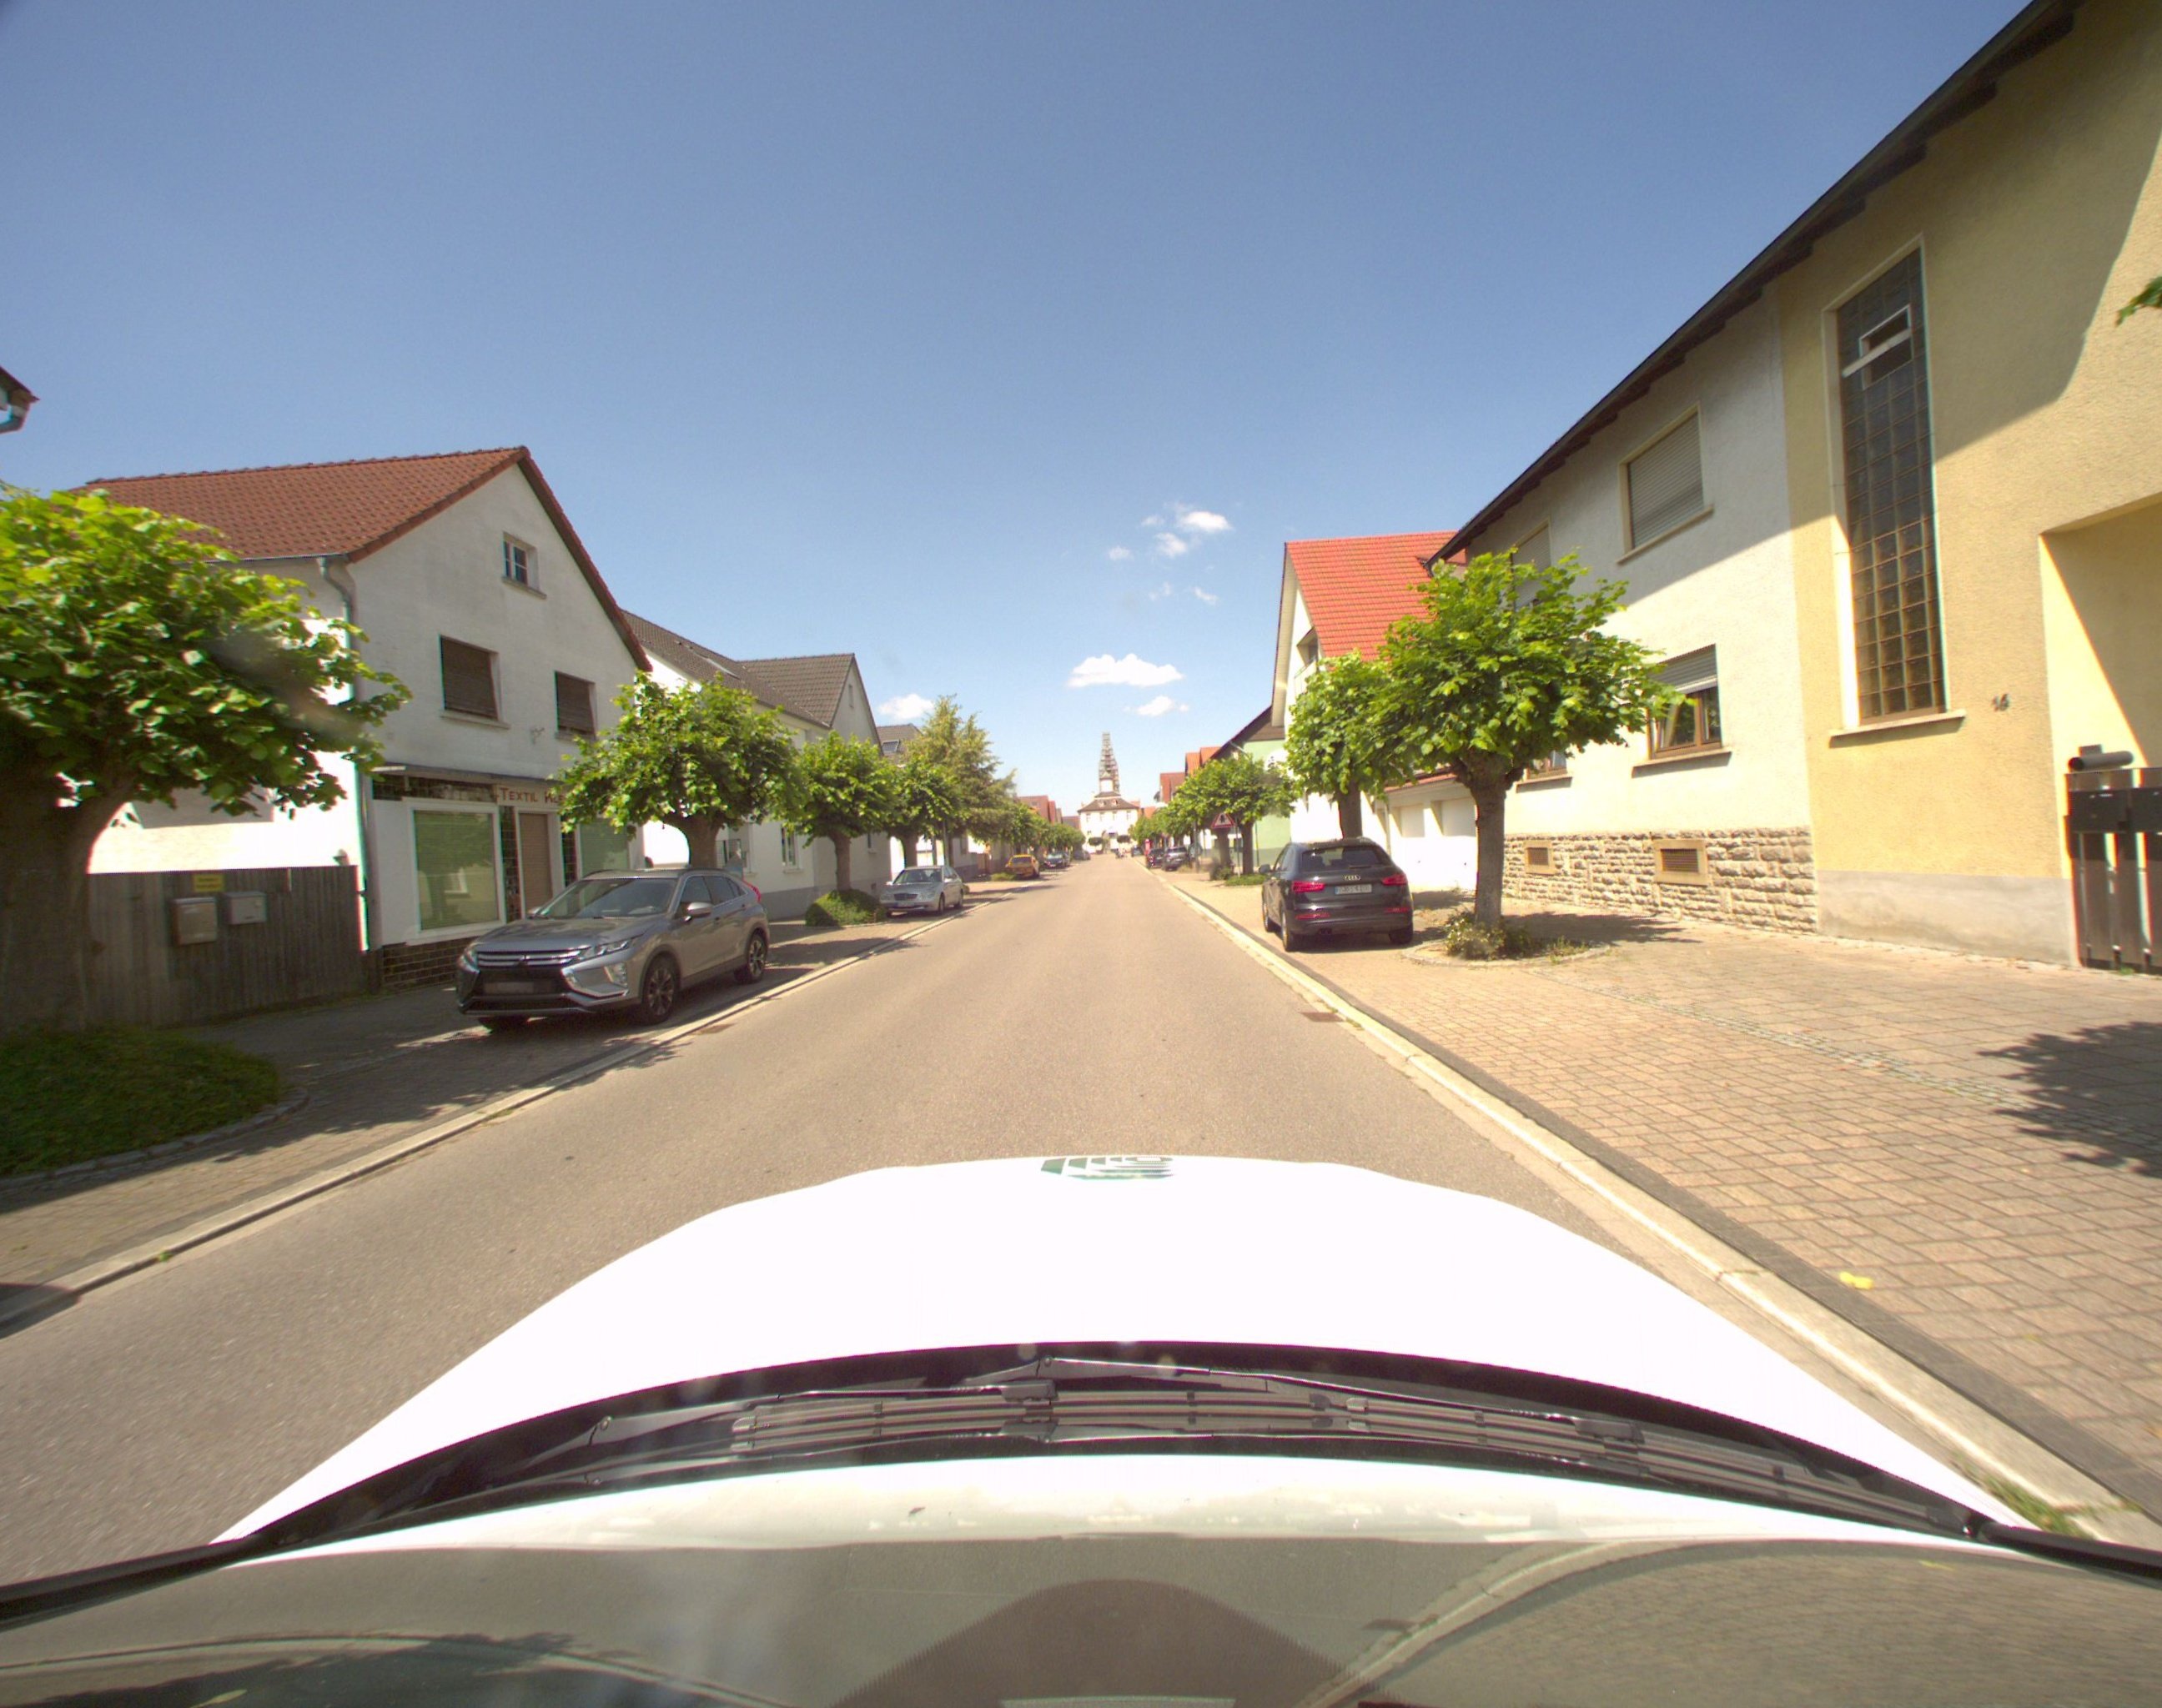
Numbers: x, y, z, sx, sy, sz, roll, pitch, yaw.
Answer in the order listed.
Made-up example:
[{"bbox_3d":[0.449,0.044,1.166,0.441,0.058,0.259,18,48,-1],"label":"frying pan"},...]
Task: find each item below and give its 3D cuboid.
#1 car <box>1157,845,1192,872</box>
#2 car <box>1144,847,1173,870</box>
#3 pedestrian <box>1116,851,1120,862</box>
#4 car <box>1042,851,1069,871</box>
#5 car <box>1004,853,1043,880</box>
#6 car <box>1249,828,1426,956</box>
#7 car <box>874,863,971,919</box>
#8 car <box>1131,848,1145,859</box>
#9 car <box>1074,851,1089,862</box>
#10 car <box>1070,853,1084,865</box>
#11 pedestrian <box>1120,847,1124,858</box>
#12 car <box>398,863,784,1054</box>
[{"bbox_3d":[6.042,0.260,53.157,1.831,1.607,4.001,-3,0,1],"label":"car"},{"bbox_3d":[5.746,0.321,60.925,1.830,1.555,4.316,-5,0,2],"label":"car"},{"bbox_3d":[5.033,0.367,110.438,0.354,1.403,0.322,-4,0,39],"label":"pedestrian"},{"bbox_3d":[-2.317,0.597,75.245,1.985,1.611,4.693,-2,1,3],"label":"car"},{"bbox_3d":[-3.777,0.797,54.181,1.985,1.611,4.693,-2,0,3],"label":"car"},{"bbox_3d":[3.863,0.487,12.973,1.815,1.586,4.064,-5,0,6],"label":"car"},{"bbox_3d":[-4.622,1.028,24.388,1.834,1.396,4.408,-3,0,2],"label":"car"},{"bbox_3d":[8.627,-0.120,123.724,1.830,1.555,4.317,-5,0,3],"label":"car"},{"bbox_3d":[0.139,0.388,124.144,1.985,1.611,3.858,-2,-1,3],"label":"car"},{"bbox_3d":[-0.602,0.677,118.418,1.750,1.555,4.023,-3,0,3],"label":"car"},{"bbox_3d":[5.500,-0.167,109.458,0.354,1.403,0.322,-4,0,39],"label":"pedestrian"},{"bbox_3d":[-5.367,0.998,9.792,1.988,1.652,4.365,-2,0,-1],"label":"car"}]
